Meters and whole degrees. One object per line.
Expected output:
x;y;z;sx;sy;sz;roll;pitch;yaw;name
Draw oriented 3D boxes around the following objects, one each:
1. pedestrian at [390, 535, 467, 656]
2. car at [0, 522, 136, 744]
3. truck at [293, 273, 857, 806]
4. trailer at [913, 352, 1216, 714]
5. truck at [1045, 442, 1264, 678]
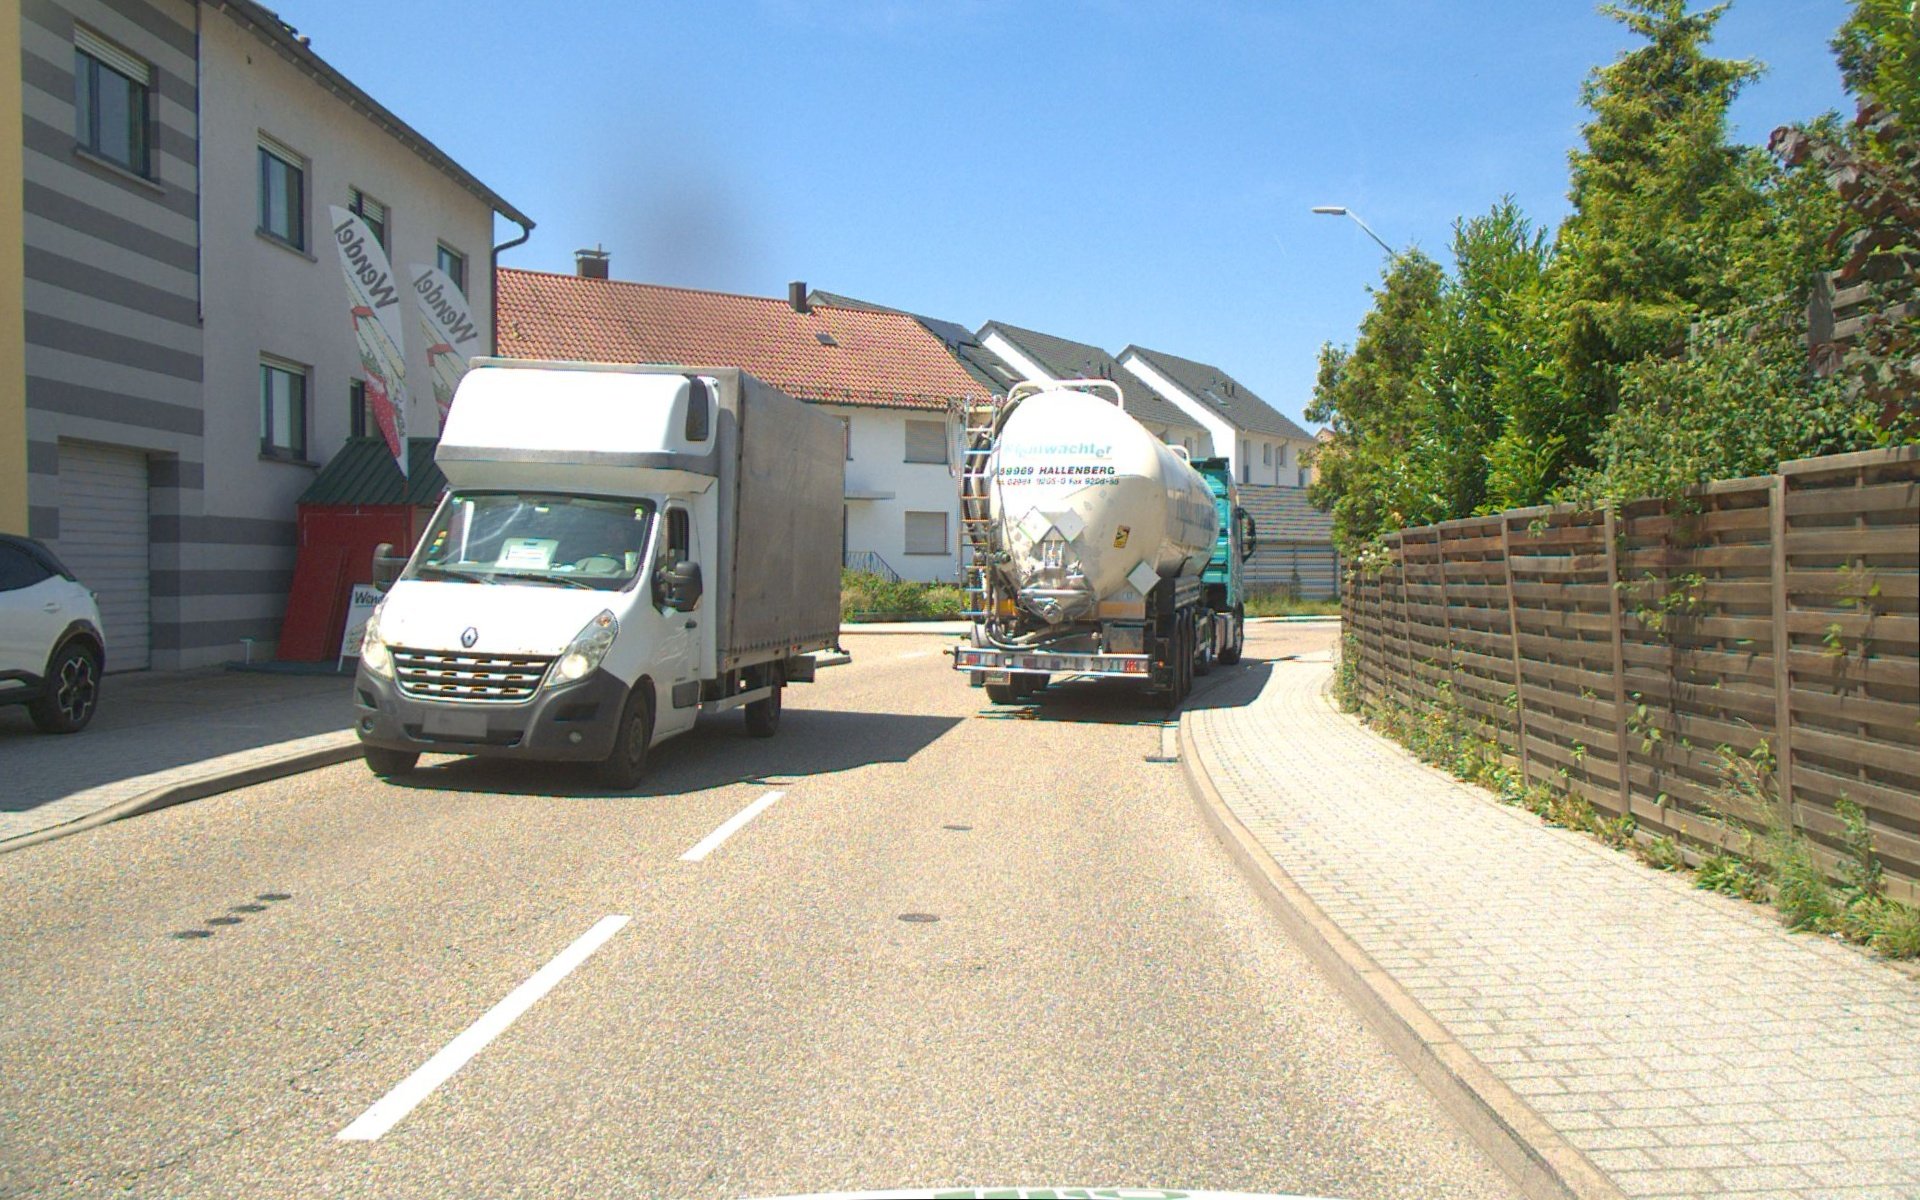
-7.241;-0.065;22.556;0.600;1.615;0.806;1;0;33;pedestrian
-7.692;0.231;11.542;1.694;1.579;4.189;1;1;1;car
-2.813;-0.458;14.777;2.414;3.425;7.622;3;1;6;truck
2.033;-0.874;24.338;2.889;4.016;11.630;0;1;11;trailer
3.909;-0.760;32.031;2.925;4.033;5.582;-3;1;19;truck
